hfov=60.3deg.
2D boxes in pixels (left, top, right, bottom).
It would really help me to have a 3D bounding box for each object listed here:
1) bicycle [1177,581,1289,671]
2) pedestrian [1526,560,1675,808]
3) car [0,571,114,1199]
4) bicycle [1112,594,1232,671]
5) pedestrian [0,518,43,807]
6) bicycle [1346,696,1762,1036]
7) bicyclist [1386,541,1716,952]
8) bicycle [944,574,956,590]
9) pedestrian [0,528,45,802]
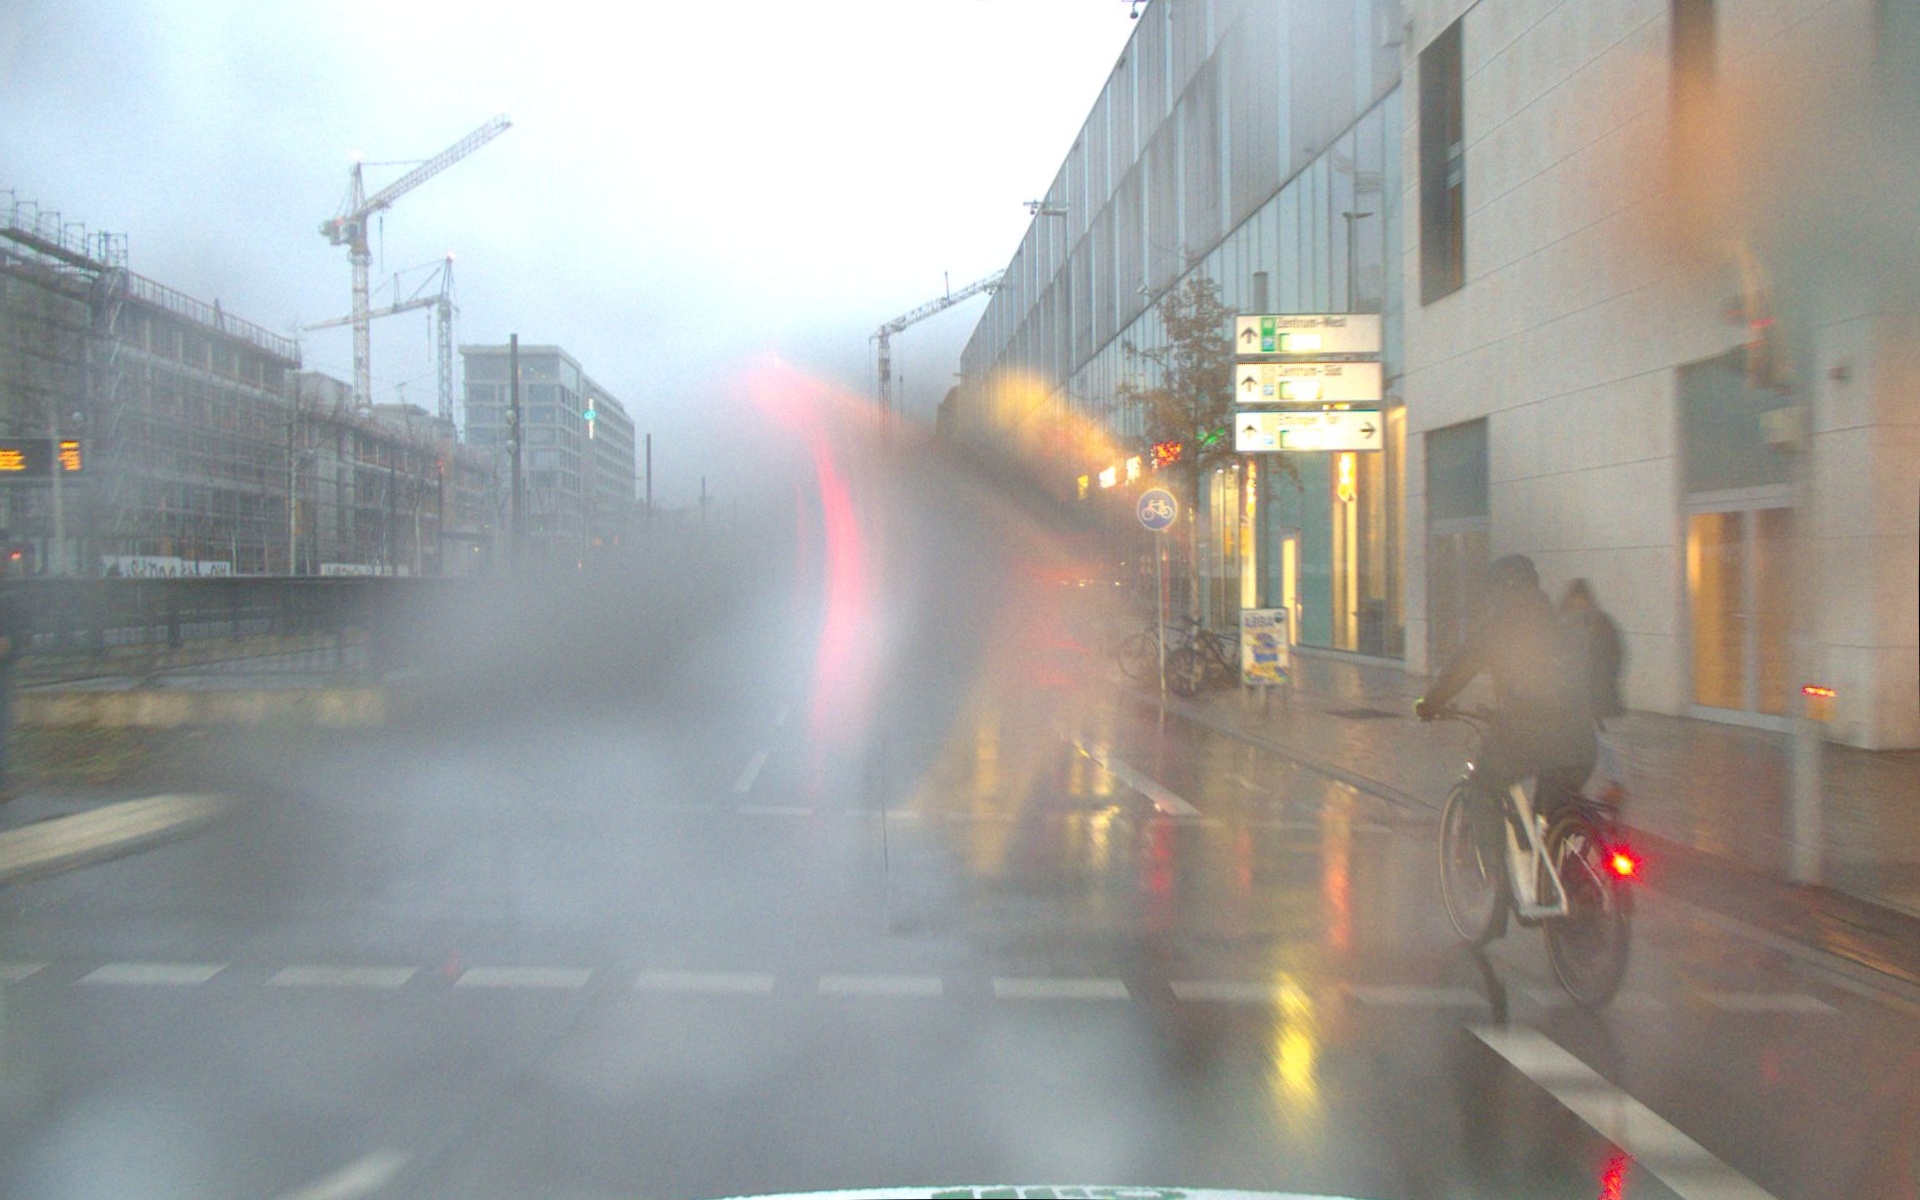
[{"bbox_3d":[4.052,0.361,24.600,1.533,1.283,0.662,1,1,43],"label":"bicycle"},{"bbox_3d":[4.663,0.580,12.066,0.694,1.724,0.721,-2,1,-16],"label":"pedestrian"},{"bbox_3d":[-2.977,0.703,1.497,1.814,1.491,4.947,0,1,1],"label":"car"},{"bbox_3d":[3.514,0.535,27.465,1.866,1.195,0.666,-2,1,-5],"label":"bicycle"},{"bbox_3d":[-6.181,0.382,10.257,0.653,1.765,0.604,0,-1,32],"label":"pedestrian"},{"bbox_3d":[2.287,0.972,6.759,0.923,1.017,2.240,0,0,1],"label":"bicycle"},{"bbox_3d":[2.285,0.526,6.546,0.923,1.488,1.066,0,1,1],"label":"bicyclist"},{"bbox_3d":[-0.784,-1.394,127.508,0.669,1.243,1.903,-3,1,-5],"label":"bicycle"},{"bbox_3d":[-6.384,0.411,10.844,0.645,1.748,0.742,0,1,-31],"label":"pedestrian"}]
